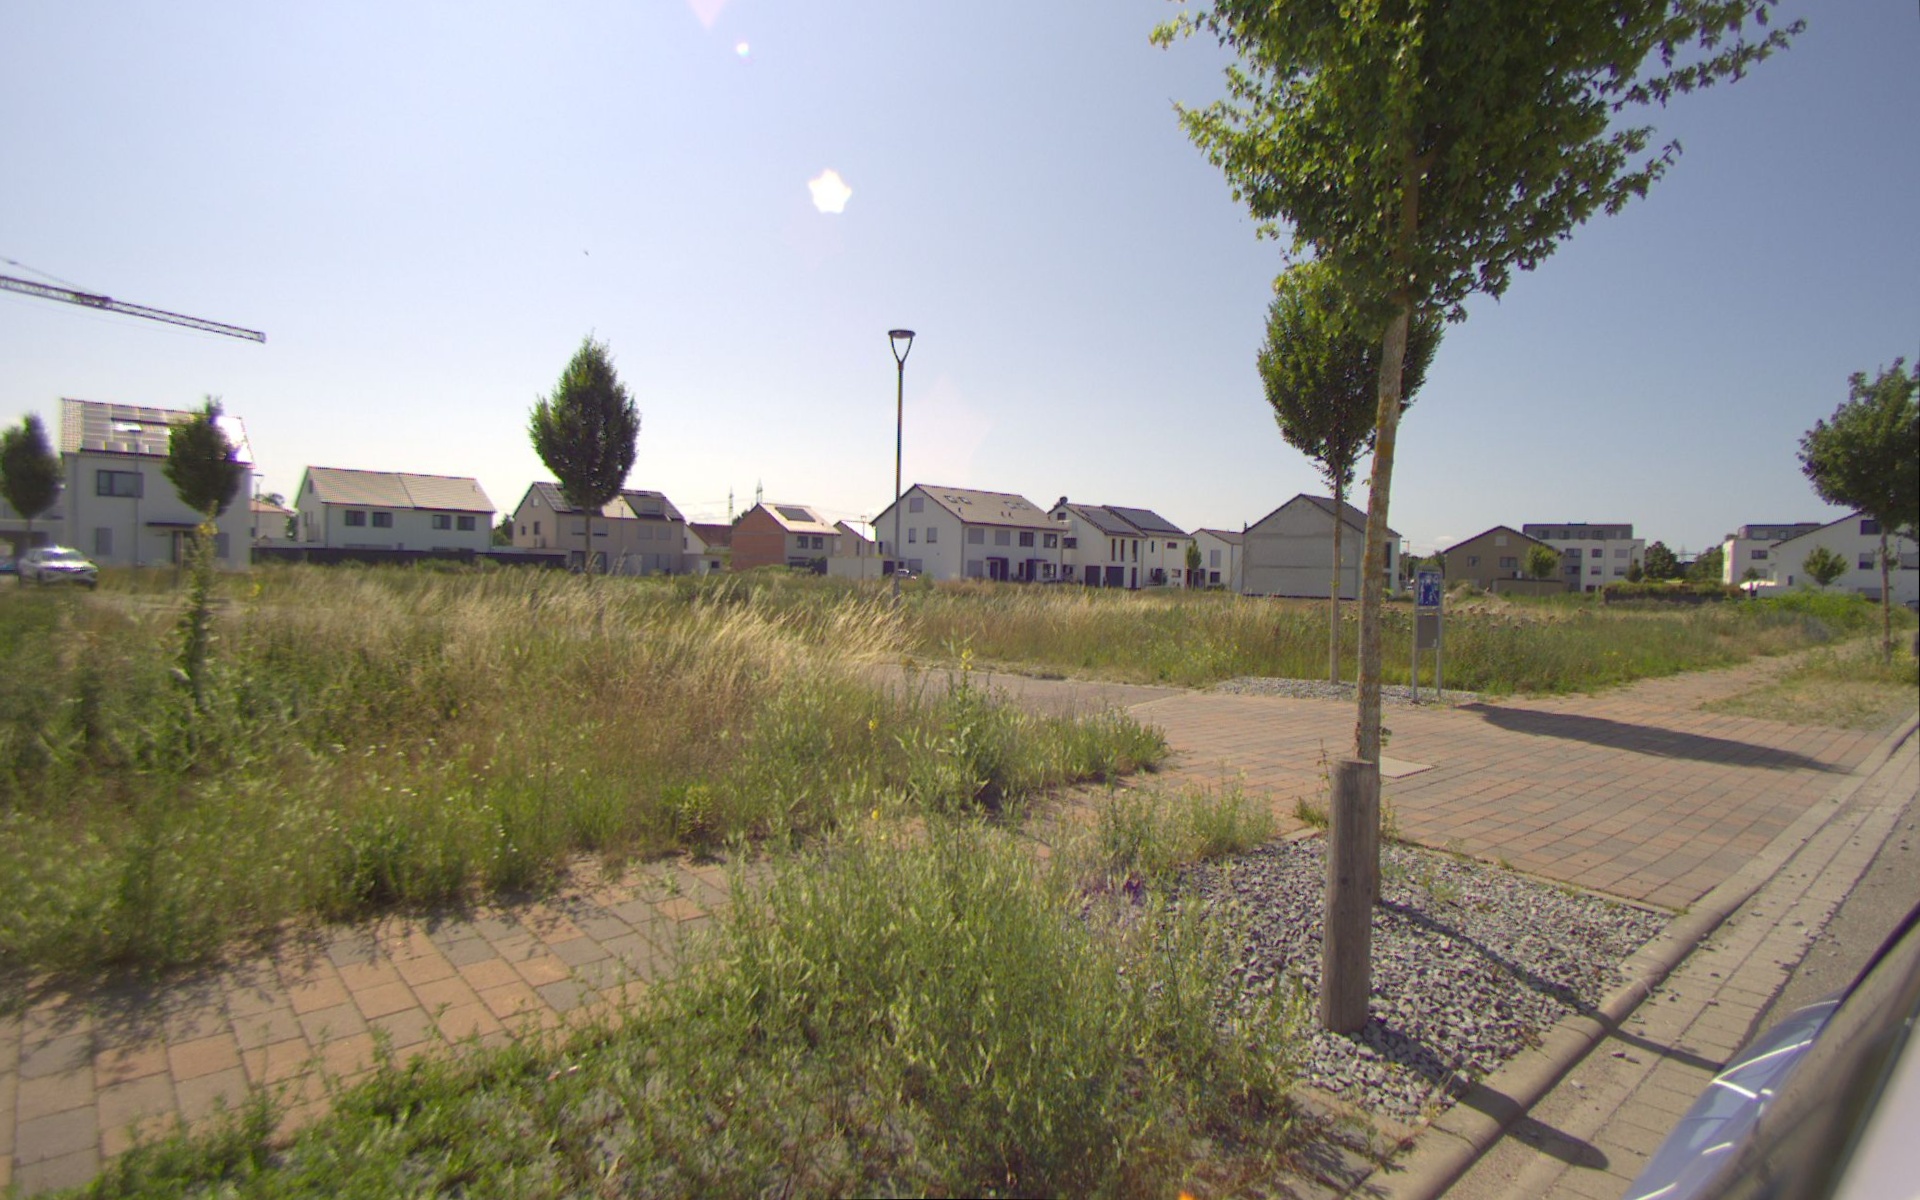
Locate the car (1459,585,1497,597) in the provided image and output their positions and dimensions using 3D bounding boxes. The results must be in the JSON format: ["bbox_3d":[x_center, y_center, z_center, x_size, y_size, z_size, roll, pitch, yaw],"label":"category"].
[{"bbox_3d":[65.427,-1.171,127.769,3.982,1.471,1.611,2,2,40],"label":"car"}]

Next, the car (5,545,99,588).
[{"bbox_3d":[-32.655,-1.202,36.371,3.807,1.460,1.720,2,2,35],"label":"car"}]
